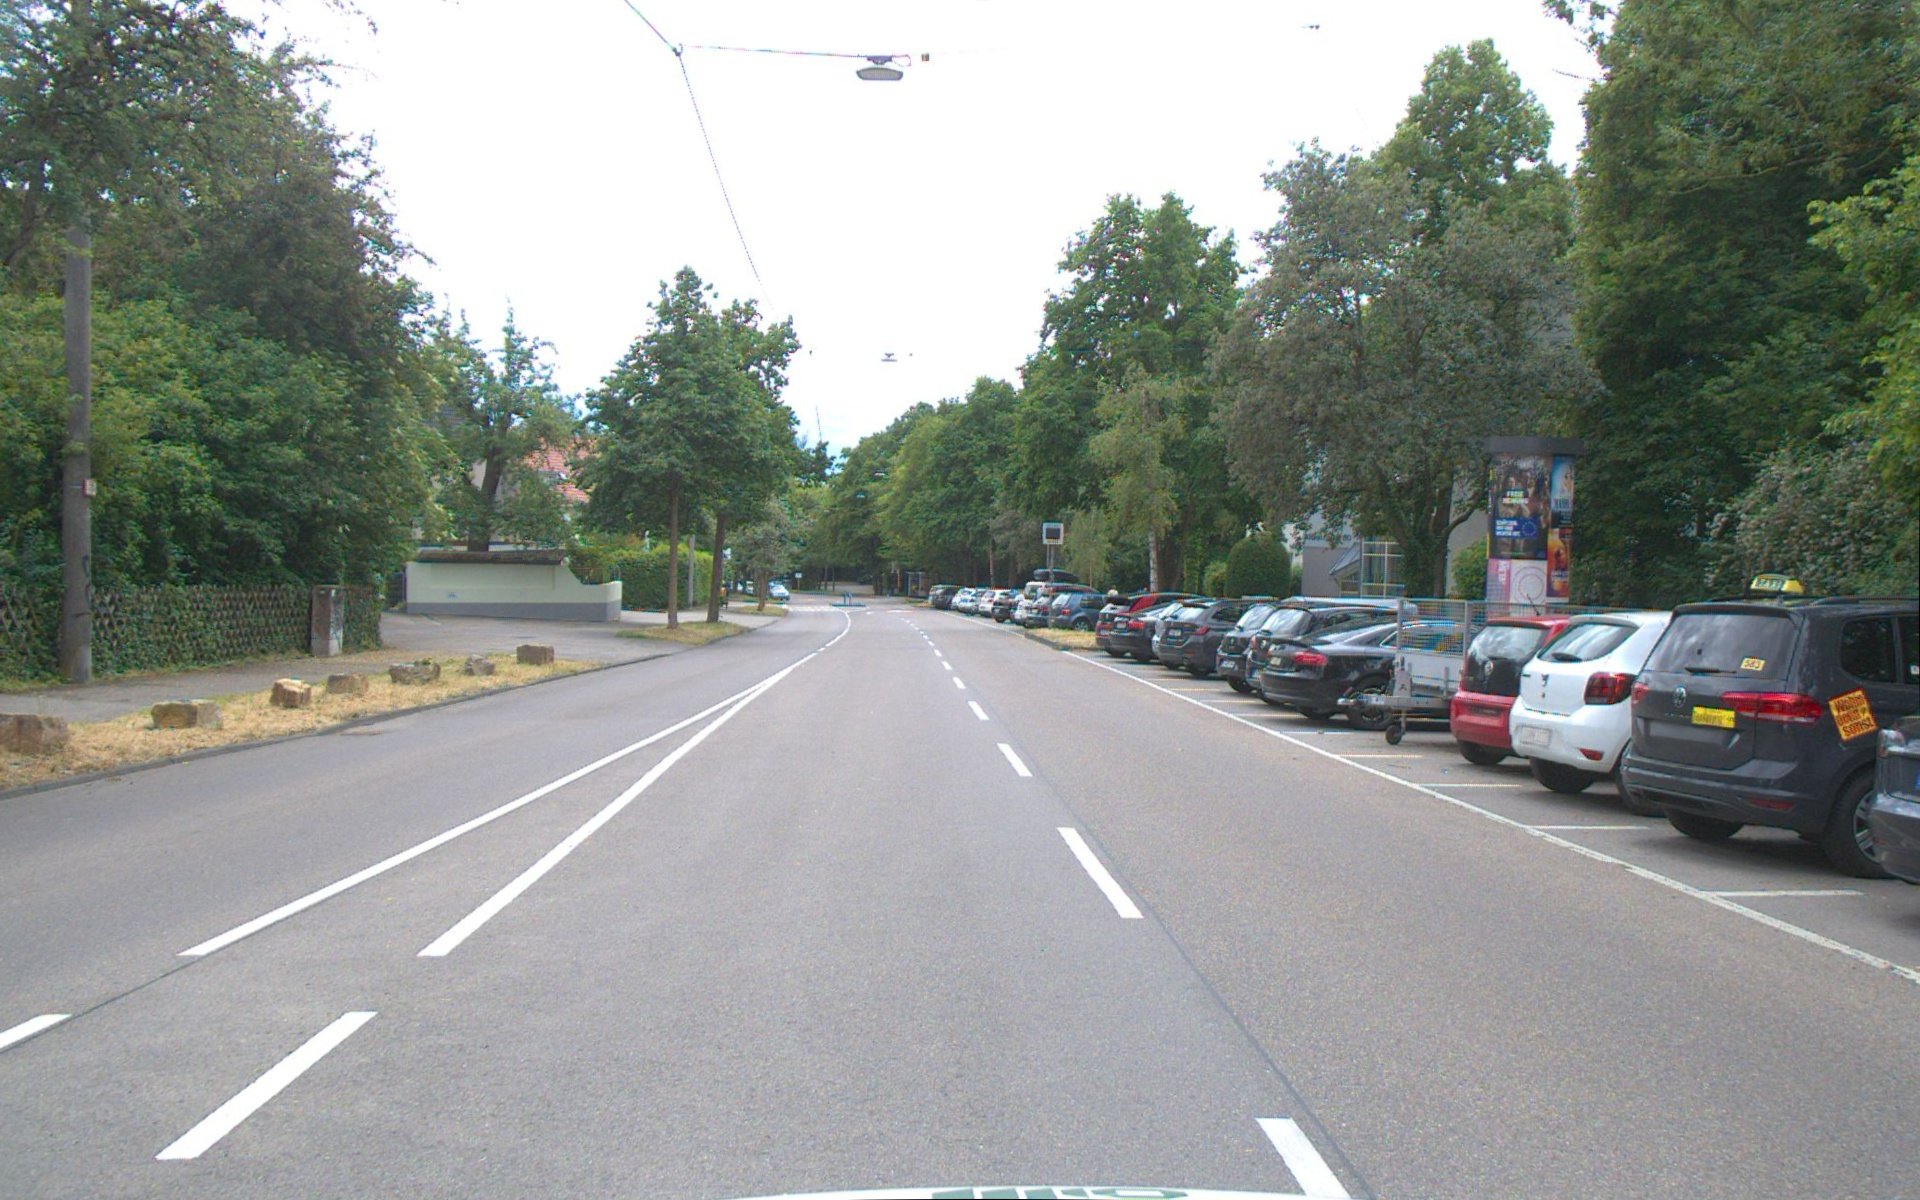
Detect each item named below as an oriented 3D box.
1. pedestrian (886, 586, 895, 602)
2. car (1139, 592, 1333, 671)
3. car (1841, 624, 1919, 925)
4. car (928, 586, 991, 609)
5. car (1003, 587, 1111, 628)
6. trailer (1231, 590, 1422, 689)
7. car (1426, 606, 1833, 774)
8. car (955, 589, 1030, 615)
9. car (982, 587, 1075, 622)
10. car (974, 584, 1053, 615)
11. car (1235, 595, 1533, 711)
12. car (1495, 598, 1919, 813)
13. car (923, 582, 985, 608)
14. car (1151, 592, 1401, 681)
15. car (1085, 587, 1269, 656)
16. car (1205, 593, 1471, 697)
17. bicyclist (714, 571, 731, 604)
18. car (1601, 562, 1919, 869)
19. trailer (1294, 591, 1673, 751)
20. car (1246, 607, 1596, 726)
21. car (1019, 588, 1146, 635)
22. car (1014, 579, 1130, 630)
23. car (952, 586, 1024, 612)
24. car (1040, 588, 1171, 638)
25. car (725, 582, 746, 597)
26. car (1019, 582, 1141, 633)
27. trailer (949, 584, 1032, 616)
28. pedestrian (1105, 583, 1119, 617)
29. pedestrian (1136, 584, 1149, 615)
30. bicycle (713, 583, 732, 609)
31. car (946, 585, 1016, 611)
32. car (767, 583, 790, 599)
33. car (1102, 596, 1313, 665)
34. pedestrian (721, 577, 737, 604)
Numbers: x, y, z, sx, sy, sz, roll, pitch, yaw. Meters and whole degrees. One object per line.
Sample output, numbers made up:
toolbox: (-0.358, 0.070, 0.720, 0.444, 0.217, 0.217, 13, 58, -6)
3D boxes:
pedestrian: (-7.046, -0.637, 167.625, 0.725, 1.597, 0.652, 1, 0, 8)
car: (5.622, 0.639, 33.748, 3.554, 1.470, 1.626, 2, 1, -18)
car: (6.673, 0.903, 8.077, 4.088, 1.431, 1.692, 2, 0, -13)
car: (-0.009, -0.173, 110.343, 3.830, 1.454, 1.732, 2, 0, -22)
car: (3.889, 0.309, 66.495, 3.904, 1.474, 1.909, 2, 0, -18)
trailer: (6.337, 0.680, 28.671, 2.937, 1.569, 1.298, 2, 1, -15)
car: (6.414, 0.848, 15.951, 3.367, 1.470, 1.553, 2, 0, -15)
car: (1.799, 0.103, 92.055, 3.838, 1.332, 1.729, 2, 0, -27)
car: (3.145, 0.198, 76.040, 3.837, 1.474, 1.829, 2, 0, -26)
car: (2.826, -0.034, 87.236, 3.833, 1.474, 1.731, 2, 0, -24)
car: (6.048, 0.752, 23.650, 3.850, 1.512, 1.610, 2, 0, -18)
car: (6.459, 0.823, 13.333, 3.747, 1.556, 1.604, 2, 0, -6)
car: (-0.414, -0.352, 113.113, 3.830, 1.697, 1.732, 2, 0, -22)
car: (5.865, 0.674, 30.731, 4.274, 1.470, 1.627, 2, 1, -17)
car: (5.133, 0.511, 39.144, 4.018, 1.542, 1.720, 1, 0, -25)
car: (5.964, 0.707, 26.212, 3.775, 1.480, 1.628, 2, 0, -14)
bicyclist: (-12.697, -0.685, 88.449, 0.828, 1.727, 0.713, 2, 1, -5)
car: (6.397, 0.714, 10.683, 3.915, 1.755, 1.676, 2, 0, -12)
trailer: (5.718, 0.766, 18.189, 3.625, 1.561, 1.640, 2, 1, -14)
car: (5.756, 0.824, 20.796, 3.965, 1.350, 1.555, 2, 0, -11)
car: (4.183, 0.378, 56.740, 3.969, 1.430, 1.746, 2, 0, -21)
car: (4.235, 0.175, 62.584, 4.041, 1.785, 1.770, 2, 0, -29)
car: (1.657, -0.056, 97.838, 3.830, 1.454, 1.732, 2, 0, -22)
car: (4.759, 0.419, 54.161, 3.902, 1.430, 1.748, 2, 0, -17)
car: (-24.378, -1.138, 179.473, 1.836, 1.496, 3.984, 1, 1, -15)
car: (4.321, 0.266, 59.660, 3.935, 1.648, 1.875, 2, 0, -19)
trailer: (1.656, 0.006, 89.359, 4.096, 1.600, 1.701, 2, 0, -22)
pedestrian: (7.749, 0.007, 84.228, 0.636, 1.700, 0.744, 1, 0, 3)
pedestrian: (9.651, -0.031, 87.327, 0.636, 1.631, 0.744, 1, 0, 3)
bicycle: (-12.716, -0.230, 88.574, 0.828, 1.288, 2.649, 2, 1, -5)
car: (1.268, -0.119, 100.397, 3.830, 1.454, 1.732, 2, 0, -22)
car: (-16.647, -0.838, 151.577, 1.833, 1.496, 3.992, 1, 0, -9)
car: (5.412, 0.662, 36.311, 4.242, 1.364, 1.726, 2, 0, -16)
pedestrian: (-14.974, -0.632, 107.220, 0.956, 1.761, 0.848, 1, 0, -6)
